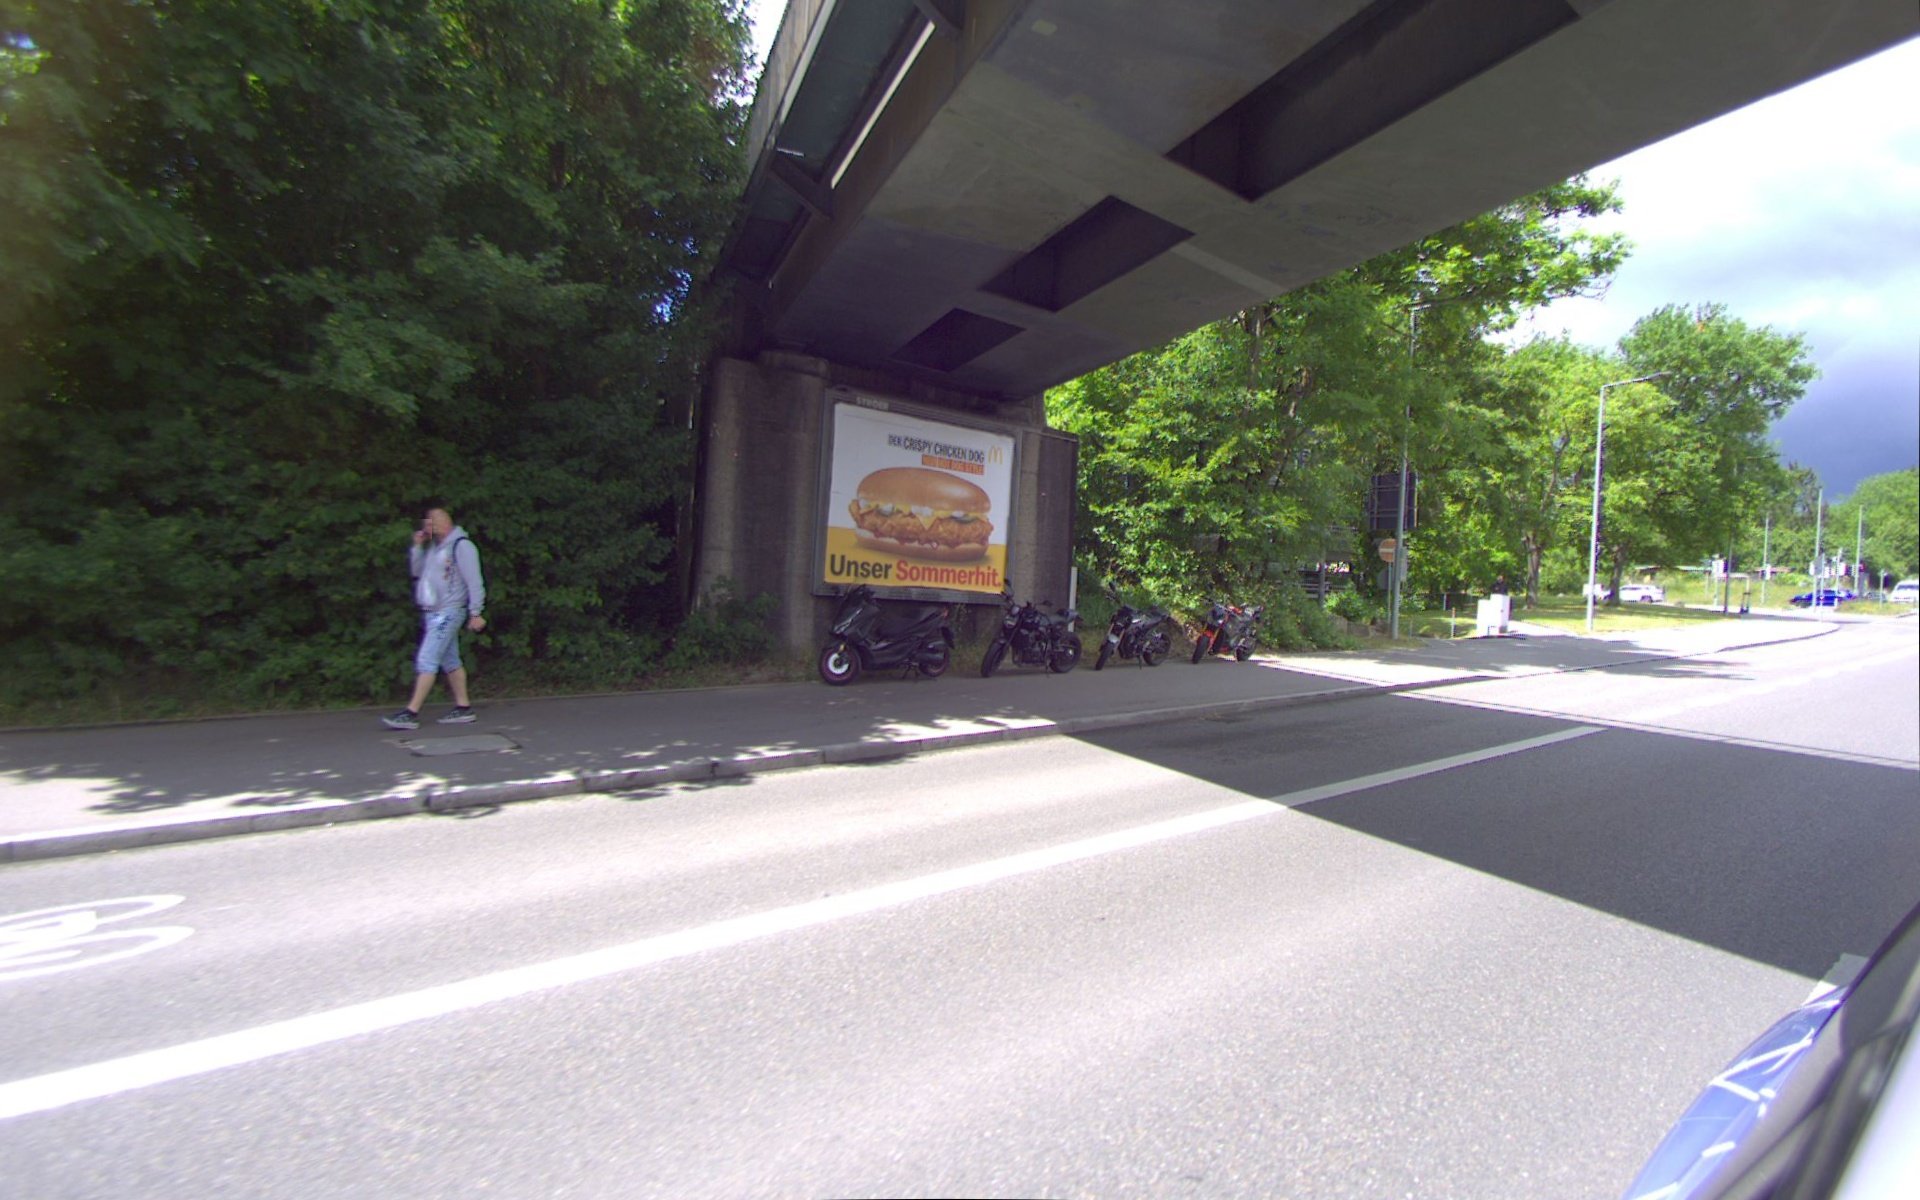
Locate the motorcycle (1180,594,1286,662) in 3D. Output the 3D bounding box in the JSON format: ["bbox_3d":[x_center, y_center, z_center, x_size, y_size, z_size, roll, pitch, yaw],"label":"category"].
[{"bbox_3d":[4.788,0.454,17.665,2.142,1.096,0.679,0,2,-41],"label":"motorcycle"}]

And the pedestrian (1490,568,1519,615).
[{"bbox_3d":[21.816,-0.365,40.539,0.942,1.834,0.711,2,2,27],"label":"pedestrian"}]

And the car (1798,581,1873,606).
[{"bbox_3d":[67.259,-0.528,77.780,1.965,1.766,4.078,0,2,-40],"label":"car"}]

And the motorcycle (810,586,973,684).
[{"bbox_3d":[-0.862,0.423,13.157,2.075,1.168,0.679,0,2,-39],"label":"motorcycle"}]

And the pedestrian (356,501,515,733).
[{"bbox_3d":[-4.657,0.122,8.987,1.078,1.911,0.791,0,2,-41],"label":"pedestrian"}]

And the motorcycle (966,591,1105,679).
[{"bbox_3d":[1.121,0.469,14.560,2.123,1.157,0.679,0,2,-41],"label":"motorcycle"}]

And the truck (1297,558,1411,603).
[{"bbox_3d":[37.585,-1.870,96.945,2.741,4.055,10.069,1,1,-42],"label":"truck"}]

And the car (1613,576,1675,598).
[{"bbox_3d":[58.829,-1.111,87.082,4.071,1.766,1.968,4,2,44],"label":"car"}]

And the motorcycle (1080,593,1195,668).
[{"bbox_3d":[2.858,0.459,16.143,2.002,1.096,0.679,0,2,-41],"label":"motorcycle"}]
